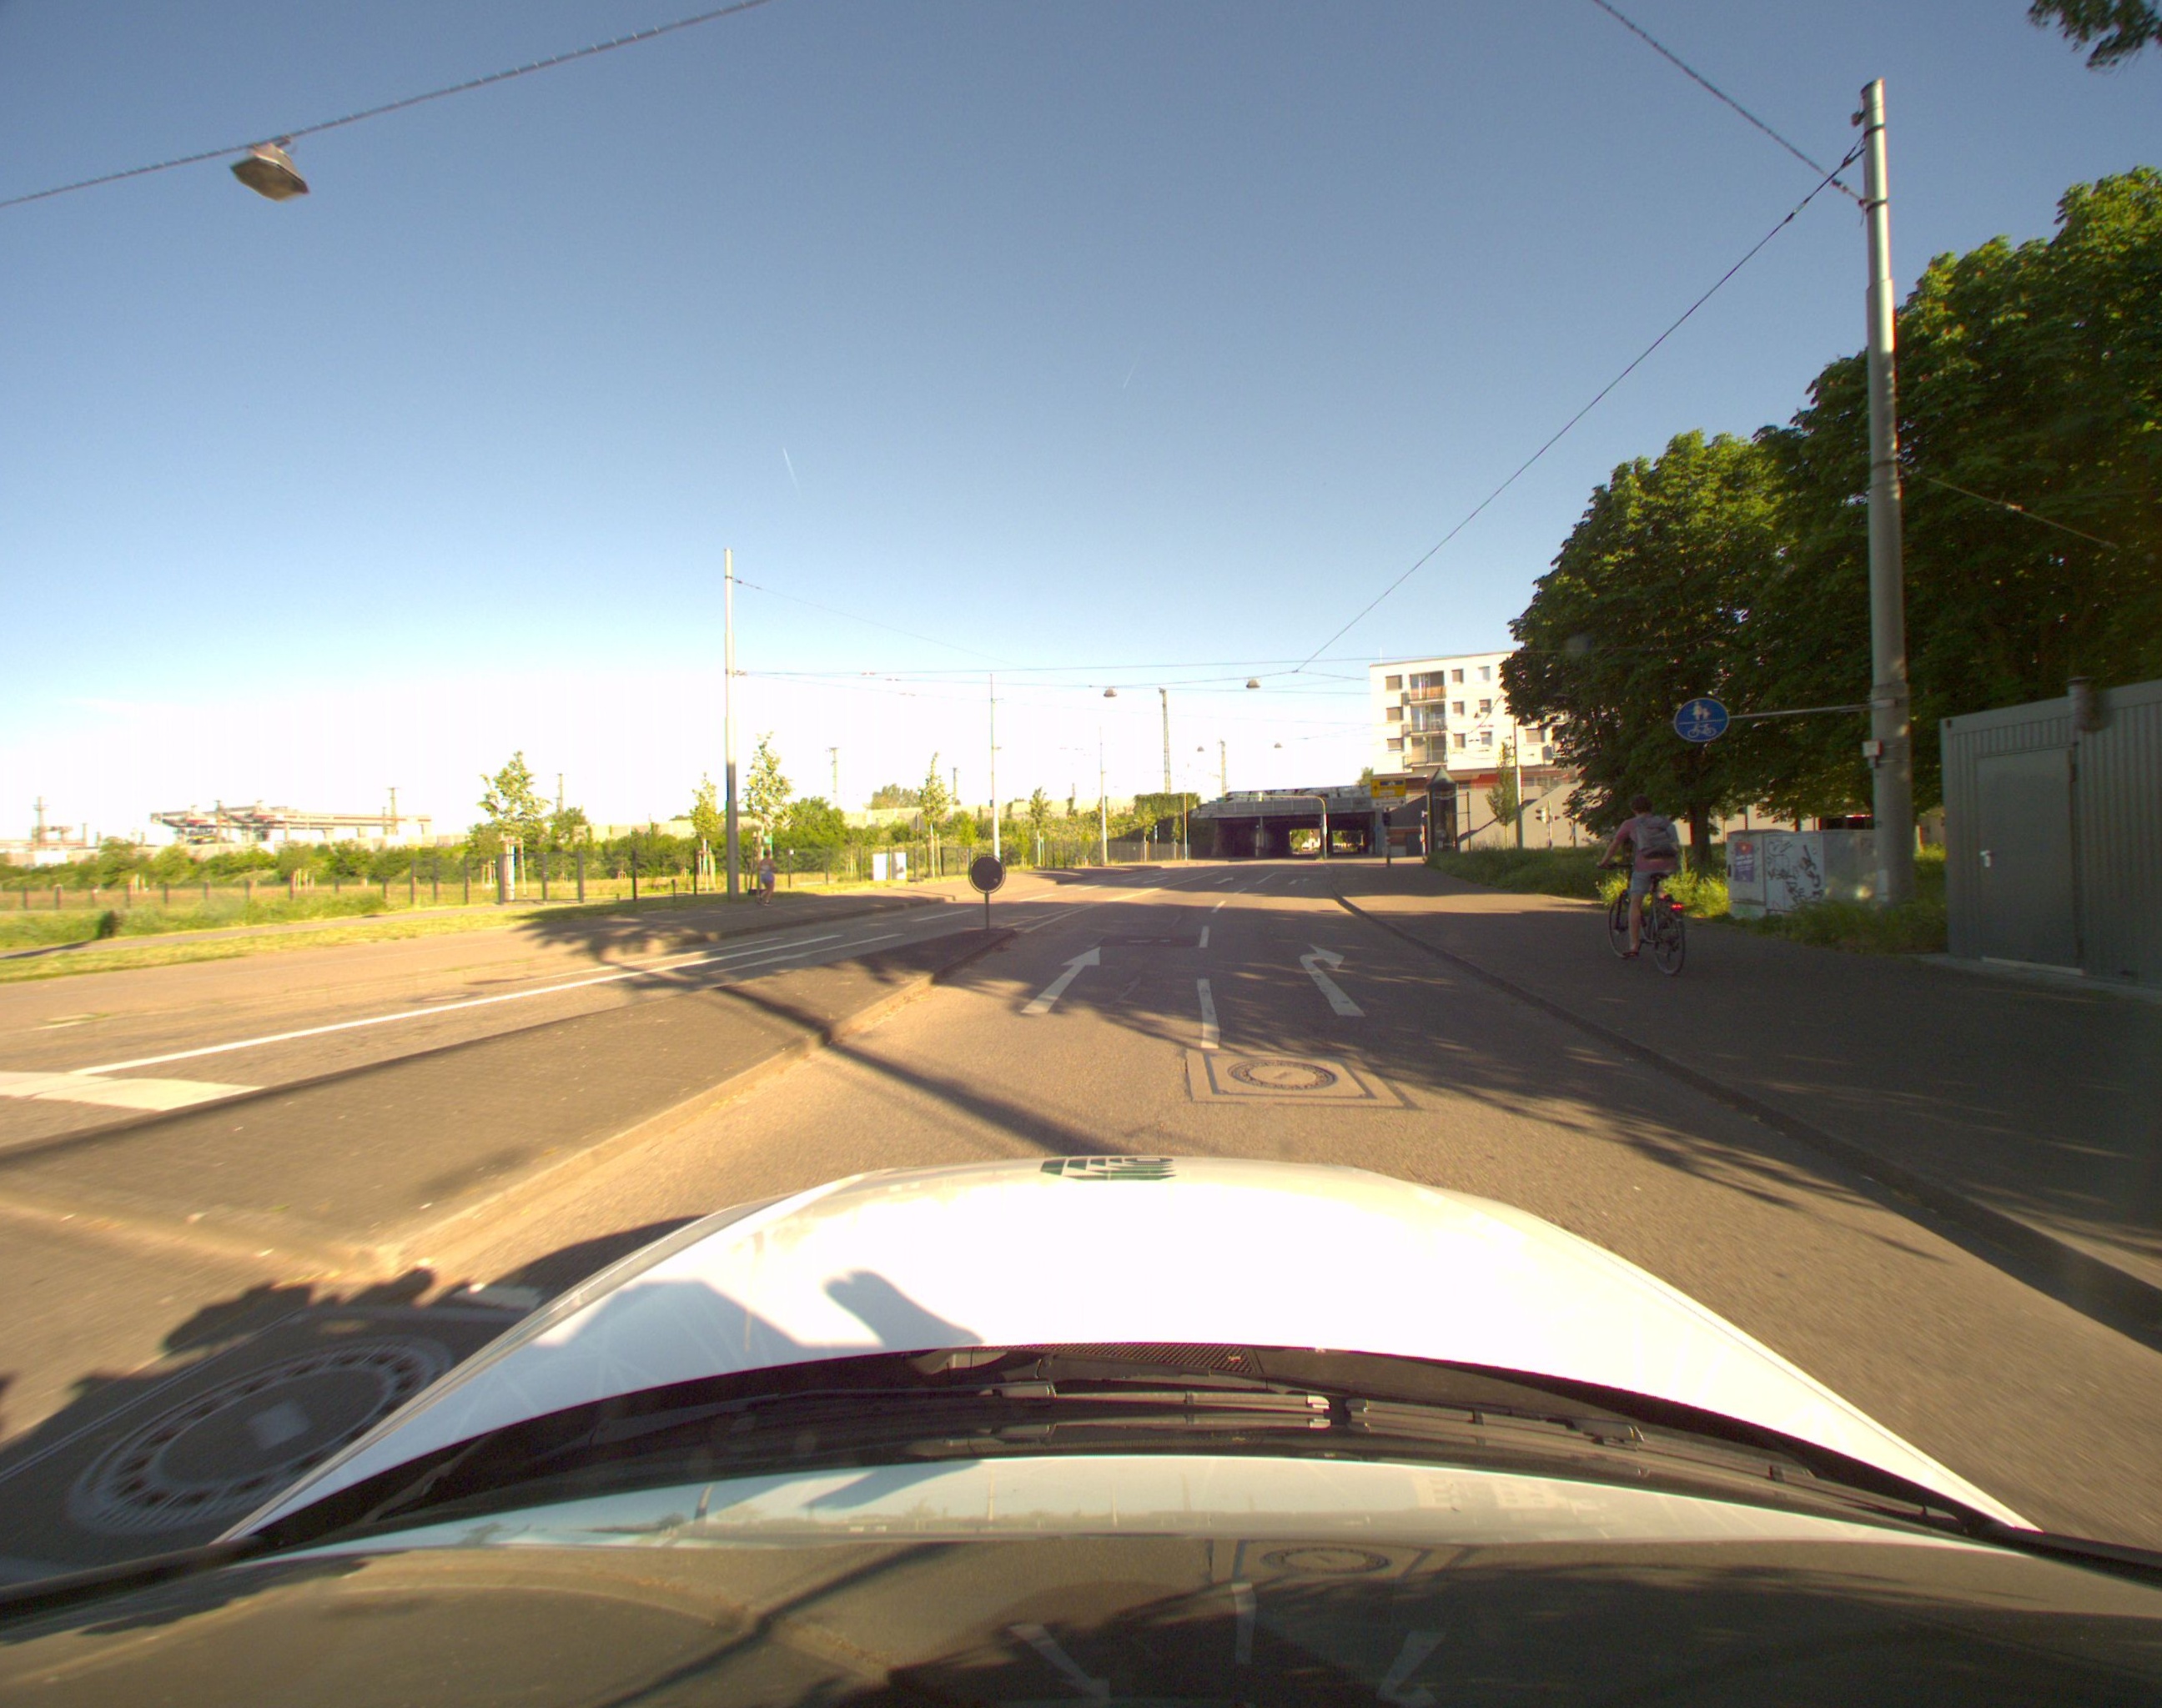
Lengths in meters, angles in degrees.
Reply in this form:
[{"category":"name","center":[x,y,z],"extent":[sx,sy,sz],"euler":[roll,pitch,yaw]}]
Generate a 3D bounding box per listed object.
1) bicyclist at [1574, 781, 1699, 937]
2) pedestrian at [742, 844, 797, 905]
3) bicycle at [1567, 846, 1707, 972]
[{"category":"bicyclist","center":[6.070,0.043,8.975],"extent":[0.805,1.599,1.154],"euler":[-2,1,17]},{"category":"pedestrian","center":[-8.854,0.555,23.169],"extent":[0.825,1.628,1.187],"euler":[1,3,20]},{"category":"bicycle","center":[6.094,0.543,9.055],"extent":[0.713,1.192,2.010],"euler":[-2,1,17]}]
